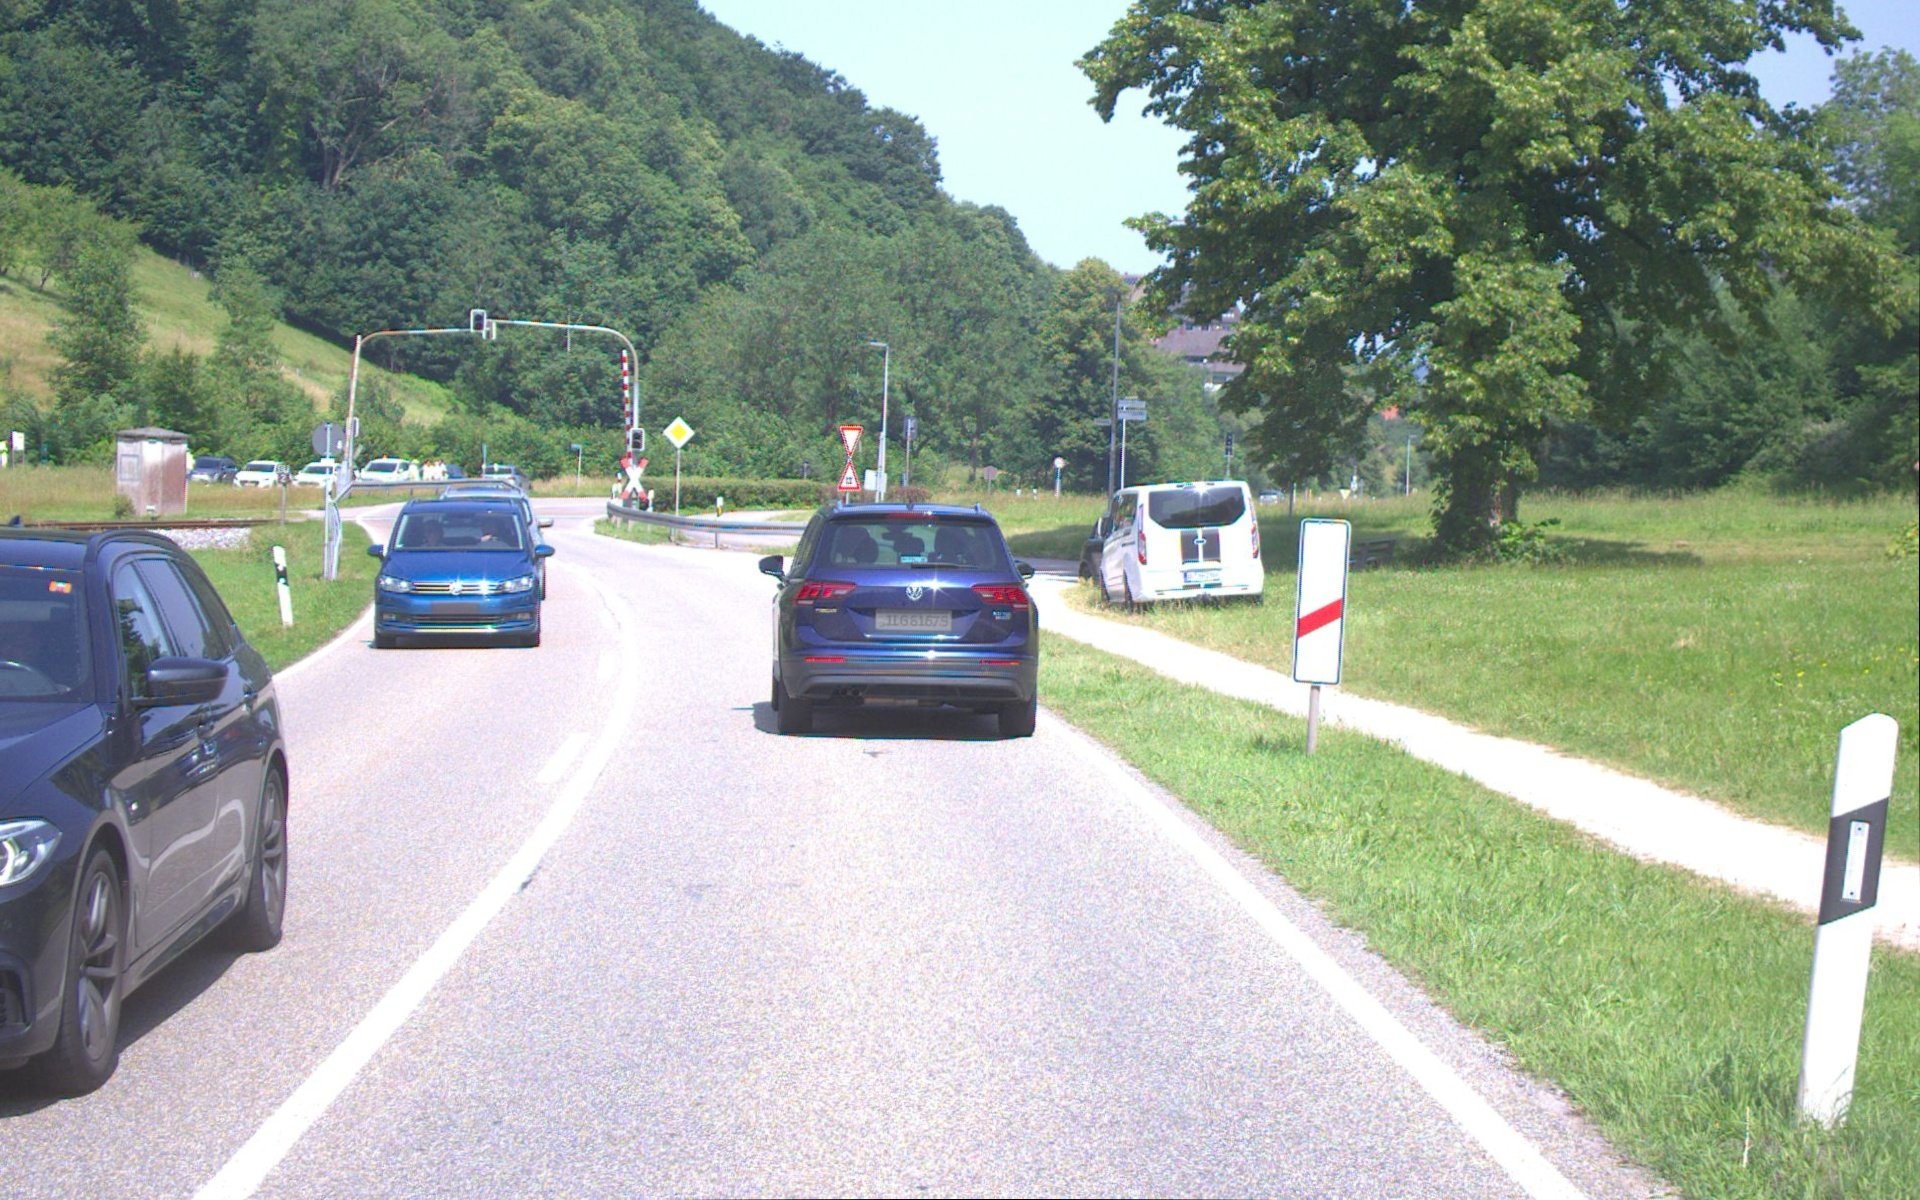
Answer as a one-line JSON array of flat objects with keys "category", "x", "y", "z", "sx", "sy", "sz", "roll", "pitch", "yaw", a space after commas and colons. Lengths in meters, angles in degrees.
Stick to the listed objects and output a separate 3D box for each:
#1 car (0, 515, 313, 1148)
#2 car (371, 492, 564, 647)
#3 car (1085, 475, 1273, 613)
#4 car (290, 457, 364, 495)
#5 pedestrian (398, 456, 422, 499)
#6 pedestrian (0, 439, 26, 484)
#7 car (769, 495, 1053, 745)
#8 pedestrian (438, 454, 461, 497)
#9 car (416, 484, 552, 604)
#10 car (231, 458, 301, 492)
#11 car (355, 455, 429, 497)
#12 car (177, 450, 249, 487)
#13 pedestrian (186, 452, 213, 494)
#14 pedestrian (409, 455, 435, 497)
[{"category": "car", "x": -3.239, "y": 0.498, "z": 10.468, "sx": 1.916, "sy": 1.465, "sz": 4.511, "roll": 1, "pitch": 2, "yaw": -3}, {"category": "car", "x": -5.524, "y": -0.394, "z": 38.988, "sx": 1.865, "sy": 1.618, "sz": 4.512, "roll": 1, "pitch": 2, "yaw": -5}, {"category": "car", "x": 3.234, "y": -0.893, "z": 51.799, "sx": 1.999, "sy": 1.842, "sz": 4.870, "roll": -4, "pitch": 2, "yaw": -5}, {"category": "car", "x": -28.406, "y": -5.570, "z": 154.368, "sx": 1.994, "sy": 1.635, "sz": 4.901, "roll": 1, "pitch": 2, "yaw": 5}, {"category": "pedestrian", "x": -23.500, "y": -5.233, "z": 146.780, "sx": 0.788, "sy": 1.836, "sz": 0.698, "roll": 1, "pitch": 2, "yaw": 16}, {"category": "pedestrian", "x": -41.392, "y": -6.029, "z": 149.675, "sx": 1.127, "sy": 1.962, "sz": 0.861, "roll": 1, "pitch": 2, "yaw": 21}, {"category": "car", "x": -0.445, "y": 0.073, "z": 25.165, "sx": 1.852, "sy": 1.643, "sz": 4.141, "roll": 1, "pitch": 2, "yaw": -4}, {"category": "pedestrian", "x": -21.967, "y": -5.356, "z": 147.919, "sx": 0.648, "sy": 1.852, "sz": 0.769, "roll": 2, "pitch": 2, "yaw": 39}, {"category": "car", "x": -7.318, "y": -0.886, "z": 52.554, "sx": 1.915, "sy": 1.708, "sz": 4.161, "roll": 1, "pitch": 2, "yaw": -10}, {"category": "car", "x": -31.105, "y": -5.597, "z": 154.144, "sx": 1.994, "sy": 1.495, "sz": 4.522, "roll": 1, "pitch": 2, "yaw": 3}, {"category": "car", "x": -25.528, "y": -5.579, "z": 154.742, "sx": 1.871, "sy": 1.776, "sz": 4.771, "roll": 2, "pitch": 2, "yaw": 8}, {"category": "car", "x": -33.586, "y": -5.905, "z": 154.641, "sx": 1.994, "sy": 1.495, "sz": 4.522, "roll": 3, "pitch": 2, "yaw": 3}, {"category": "pedestrian", "x": -32.763, "y": -5.474, "z": 148.128, "sx": 0.954, "sy": 1.788, "sz": 1.000, "roll": 0, "pitch": 2, "yaw": -2}, {"category": "pedestrian", "x": -23.131, "y": -5.329, "z": 147.778, "sx": 0.770, "sy": 1.790, "sz": 0.792, "roll": 2, "pitch": 2, "yaw": 32}]
